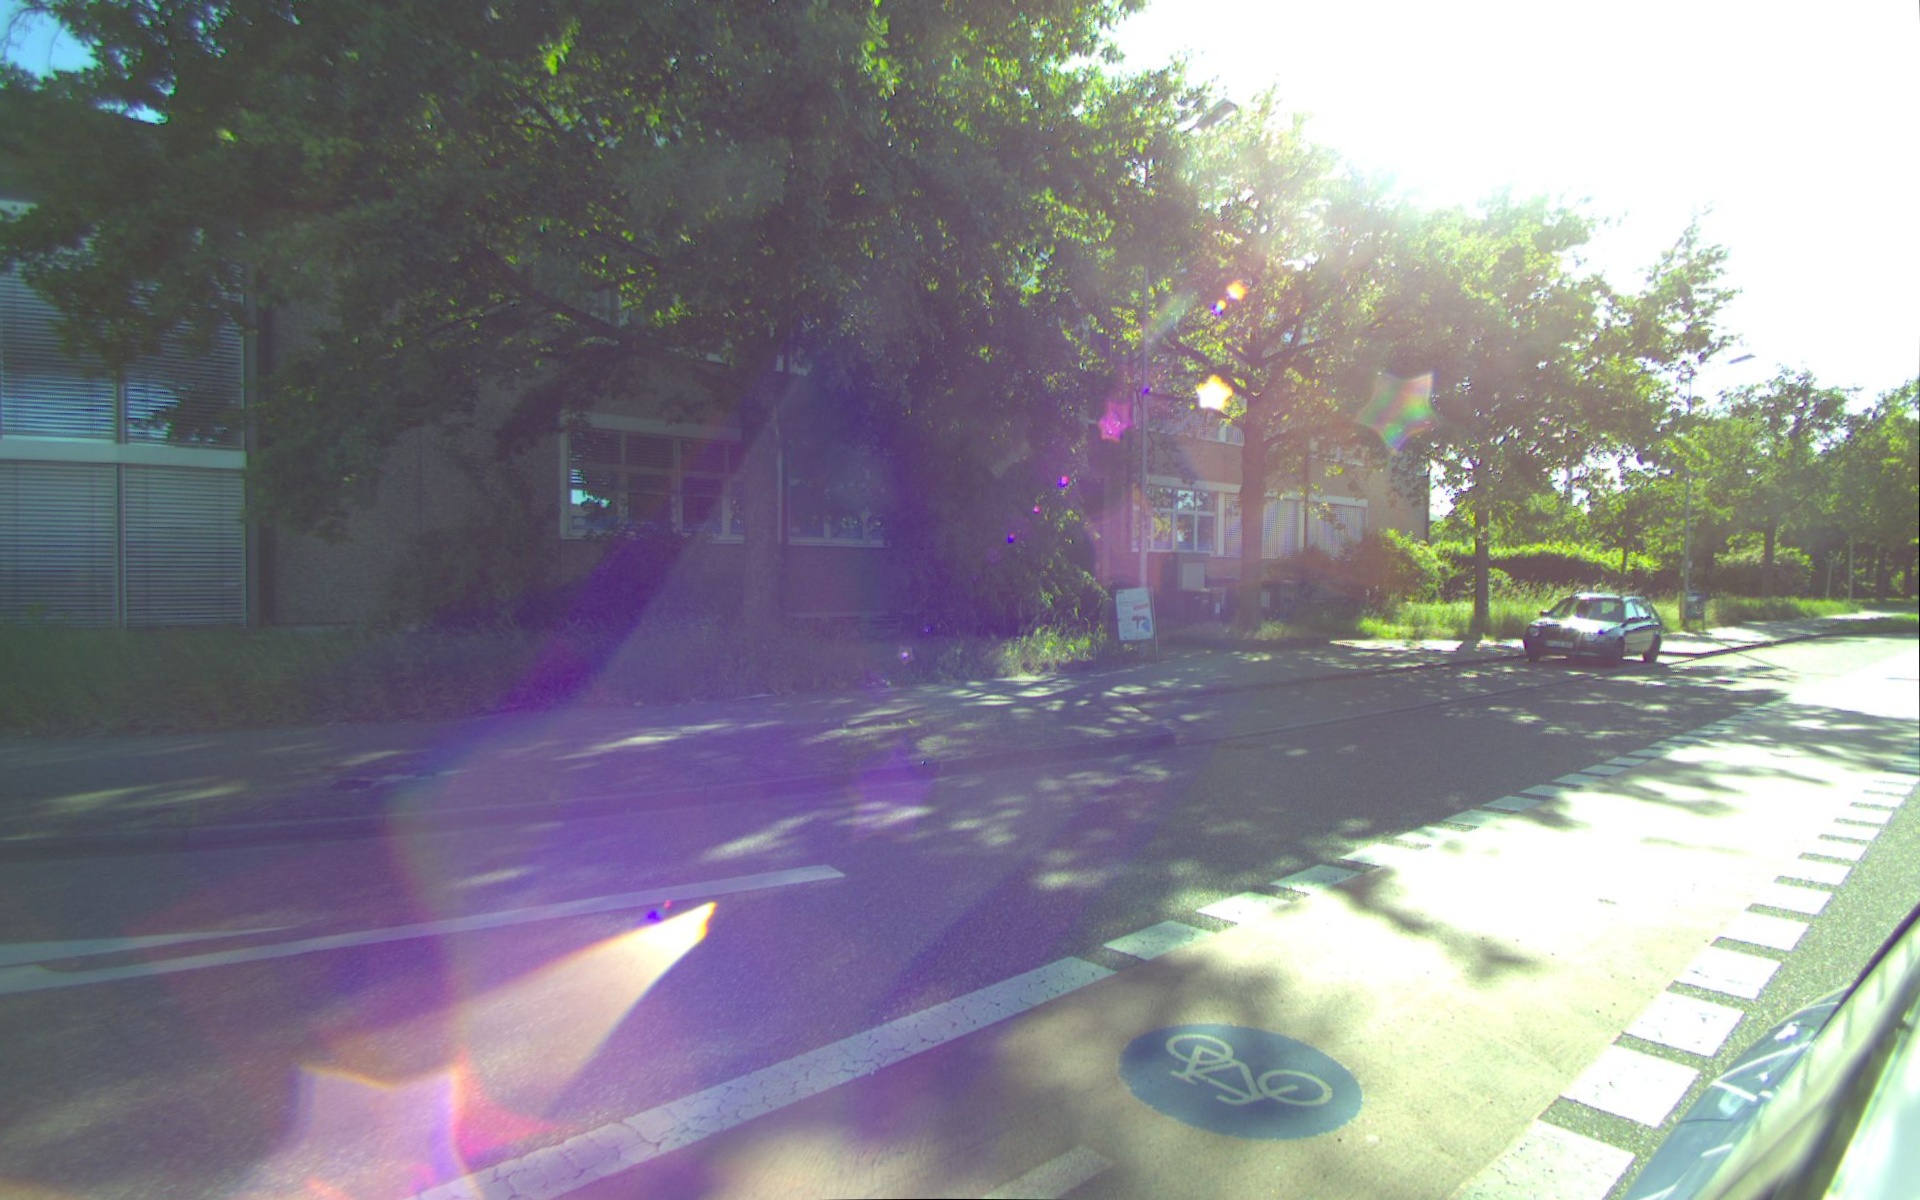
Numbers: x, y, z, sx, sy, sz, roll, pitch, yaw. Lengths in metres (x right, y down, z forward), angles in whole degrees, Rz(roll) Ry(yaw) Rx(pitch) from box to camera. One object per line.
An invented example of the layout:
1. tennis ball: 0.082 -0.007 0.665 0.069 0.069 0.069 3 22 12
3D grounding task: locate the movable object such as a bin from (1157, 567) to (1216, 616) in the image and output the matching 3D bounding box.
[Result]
1. movable object such as a bin: 6.650 -0.275 29.764 0.864 1.396 1.469 -1 2 -41

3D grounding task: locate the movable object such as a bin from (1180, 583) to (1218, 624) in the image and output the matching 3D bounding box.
1. movable object such as a bin: 6.226 0.076 26.370 0.683 1.055 0.687 0 0 -41

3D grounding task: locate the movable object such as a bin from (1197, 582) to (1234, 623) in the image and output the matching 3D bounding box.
1. movable object such as a bin: 6.763 0.054 26.830 0.683 1.055 0.687 -1 2 -41

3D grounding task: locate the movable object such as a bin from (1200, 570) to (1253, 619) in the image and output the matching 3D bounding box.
1. movable object such as a bin: 7.561 -0.178 28.744 0.782 1.357 1.207 -1 2 -41

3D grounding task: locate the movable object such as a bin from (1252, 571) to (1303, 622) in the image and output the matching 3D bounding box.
1. movable object such as a bin: 8.652 -0.105 27.582 0.782 1.338 1.089 -1 2 -41

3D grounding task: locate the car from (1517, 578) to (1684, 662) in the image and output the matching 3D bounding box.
1. car: 13.377 0.339 21.060 4.141 1.504 1.776 -1 4 -41
